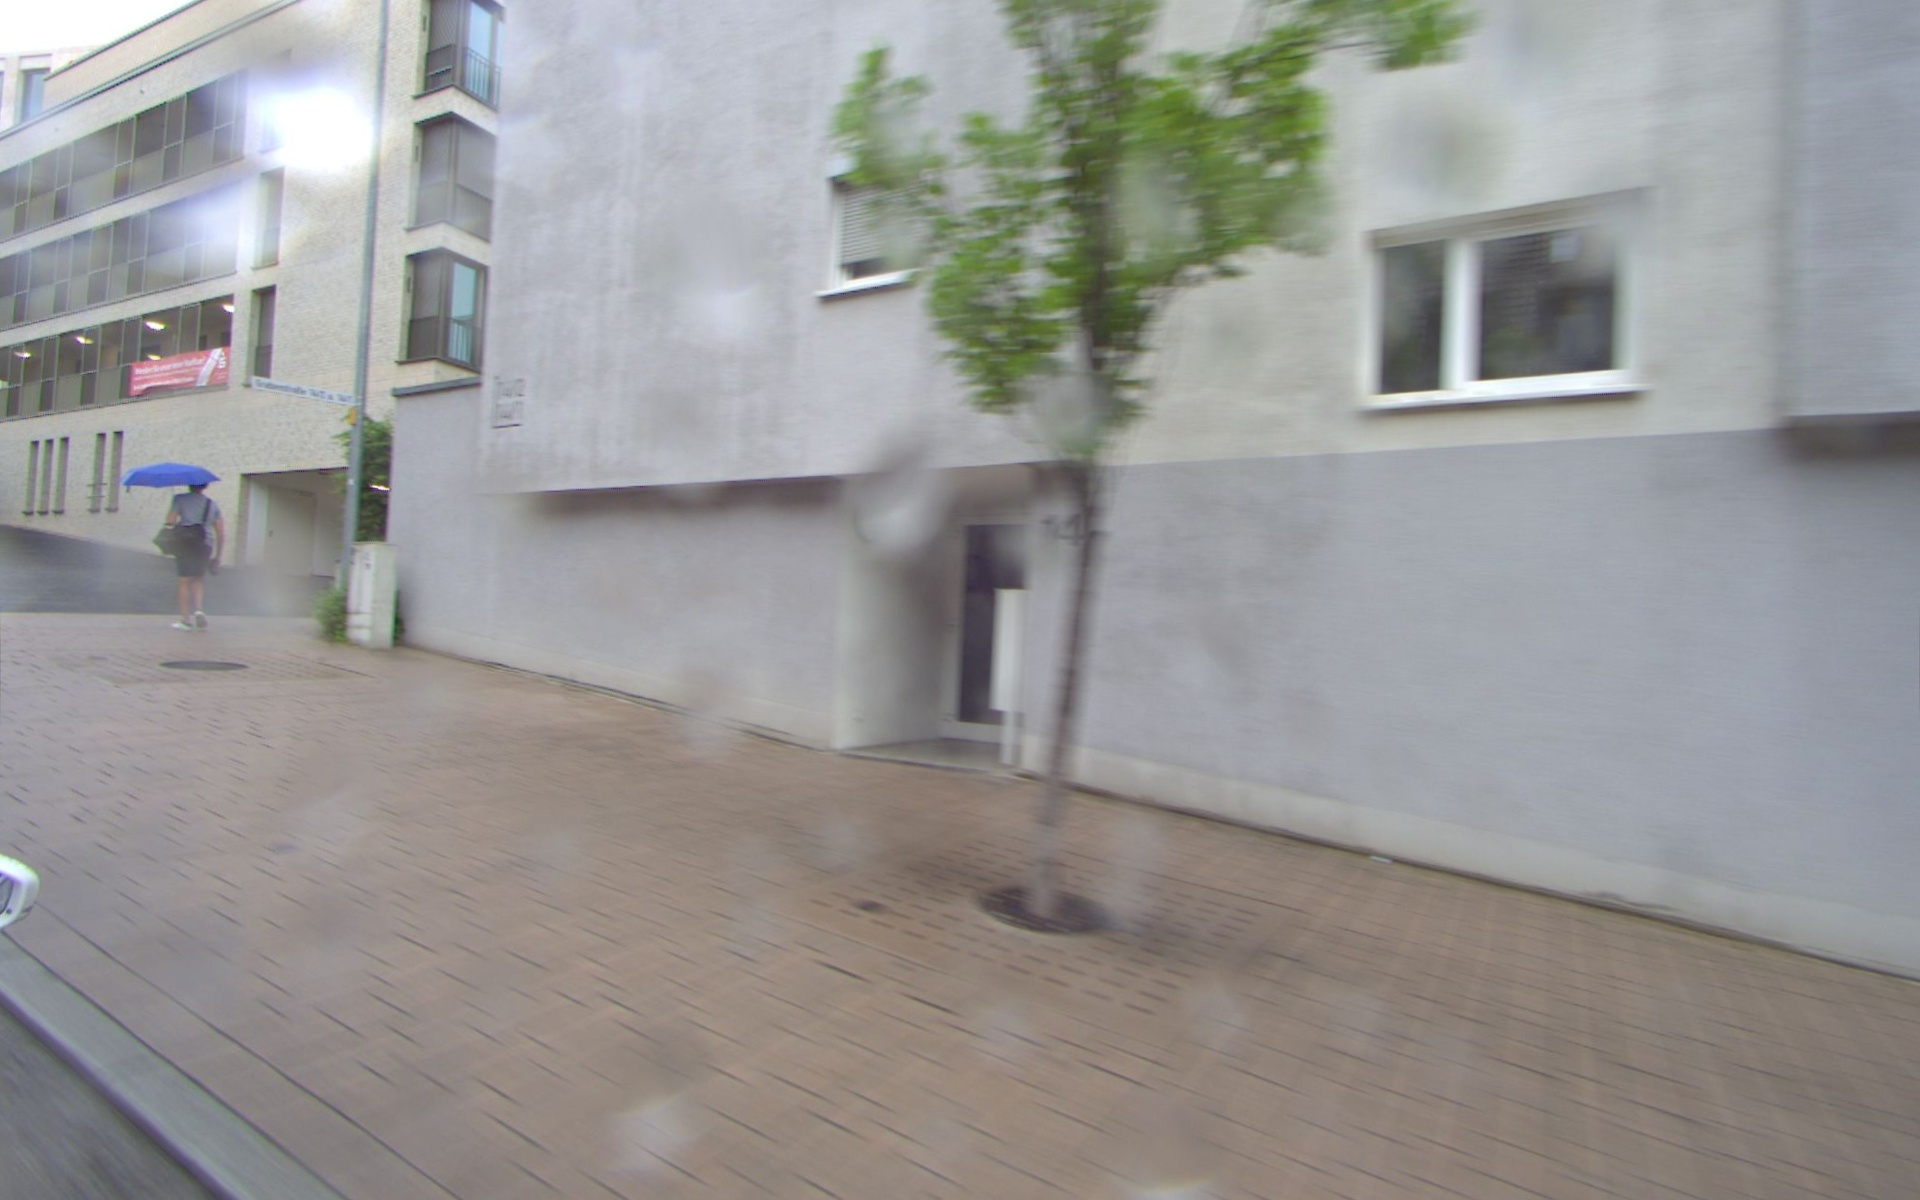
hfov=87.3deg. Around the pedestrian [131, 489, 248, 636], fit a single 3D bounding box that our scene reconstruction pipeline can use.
[{"bbox_3d":[-8.772,-0.422,11.455,1.021,1.563,0.735,7,4,34],"label":"pedestrian"}]
